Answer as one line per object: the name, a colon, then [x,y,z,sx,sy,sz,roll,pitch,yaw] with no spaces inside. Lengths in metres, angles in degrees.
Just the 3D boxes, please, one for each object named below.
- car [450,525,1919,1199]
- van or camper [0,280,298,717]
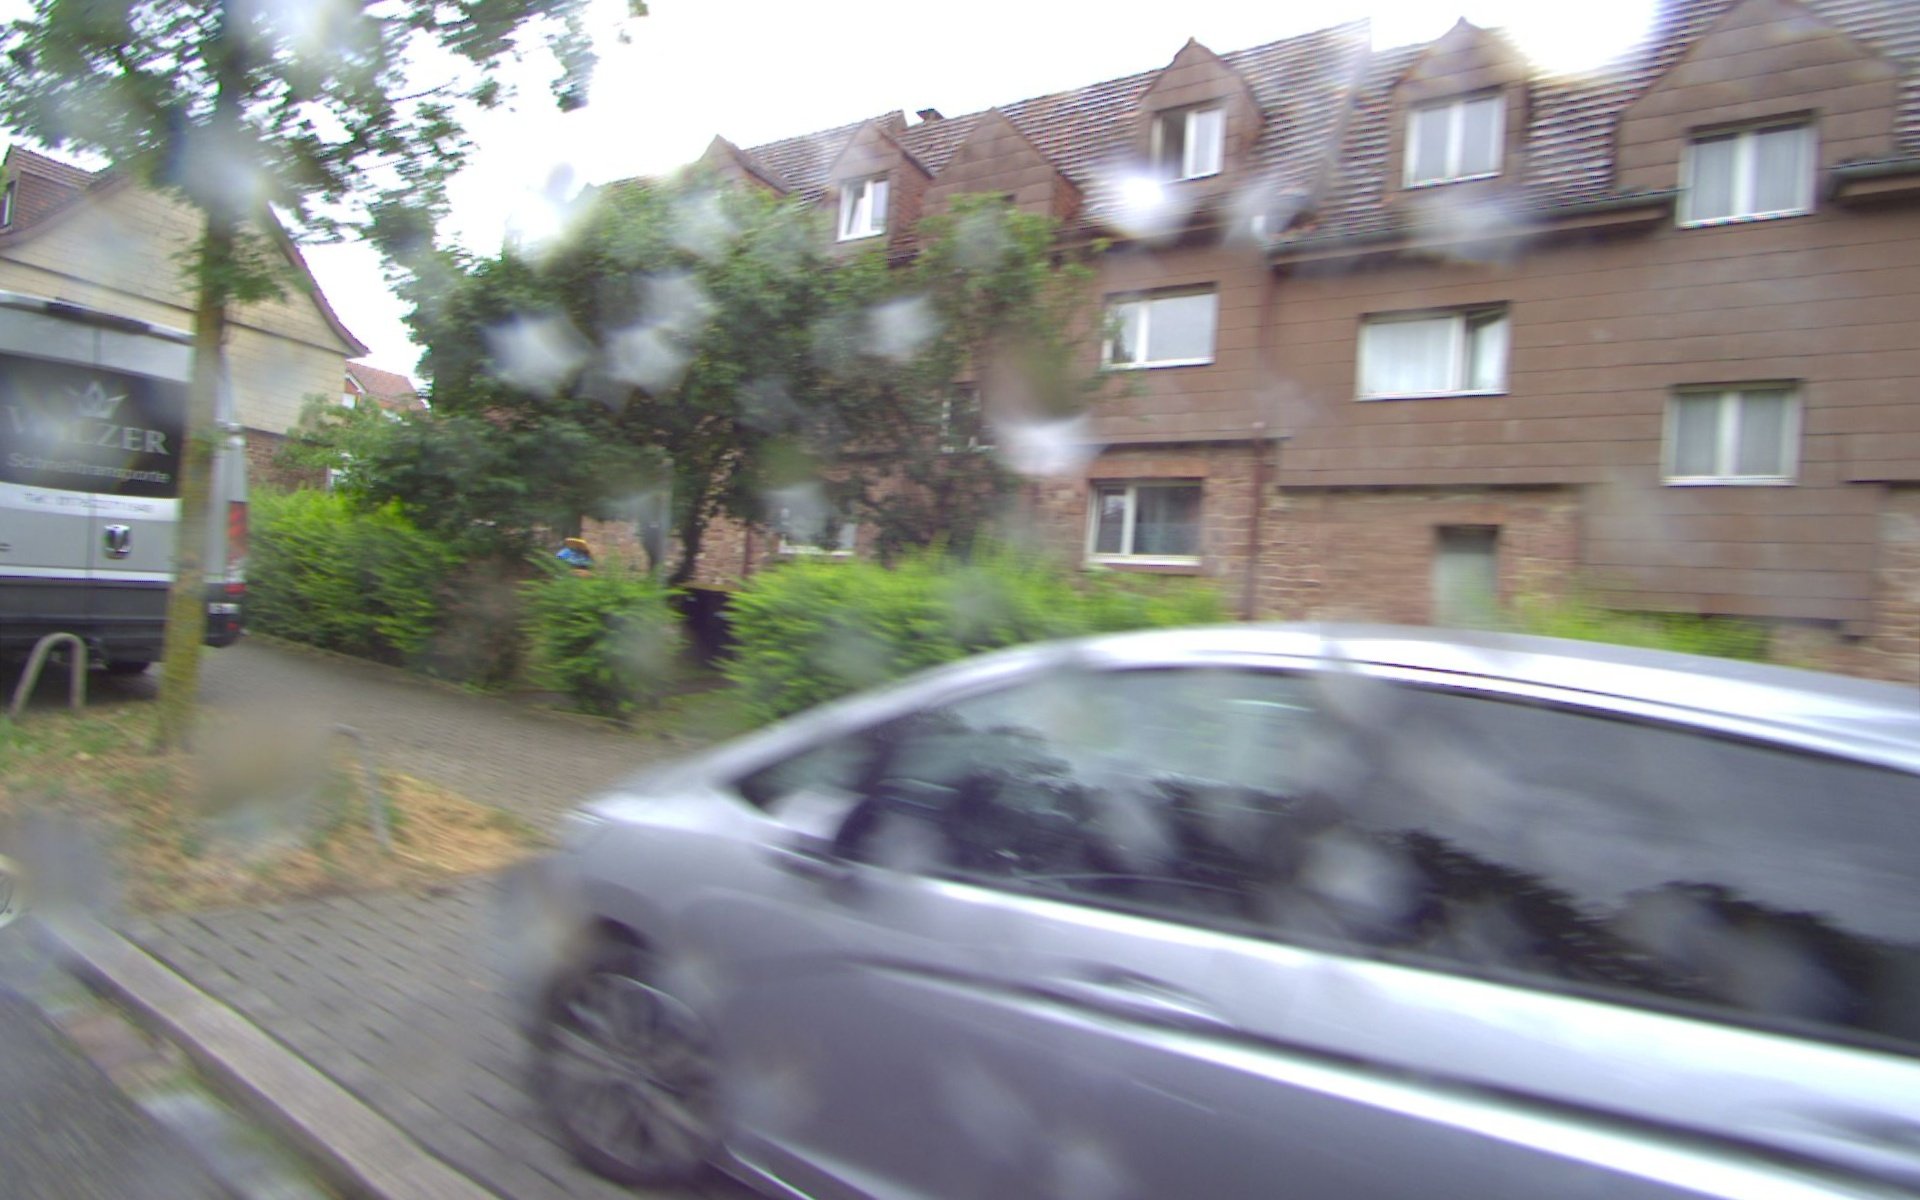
car: [0.672,0.773,2.352,3.770,1.549,1.667,7,3,34]
van or camper: [-8.671,-0.948,8.574,7.181,2.686,2.198,7,2,33]
